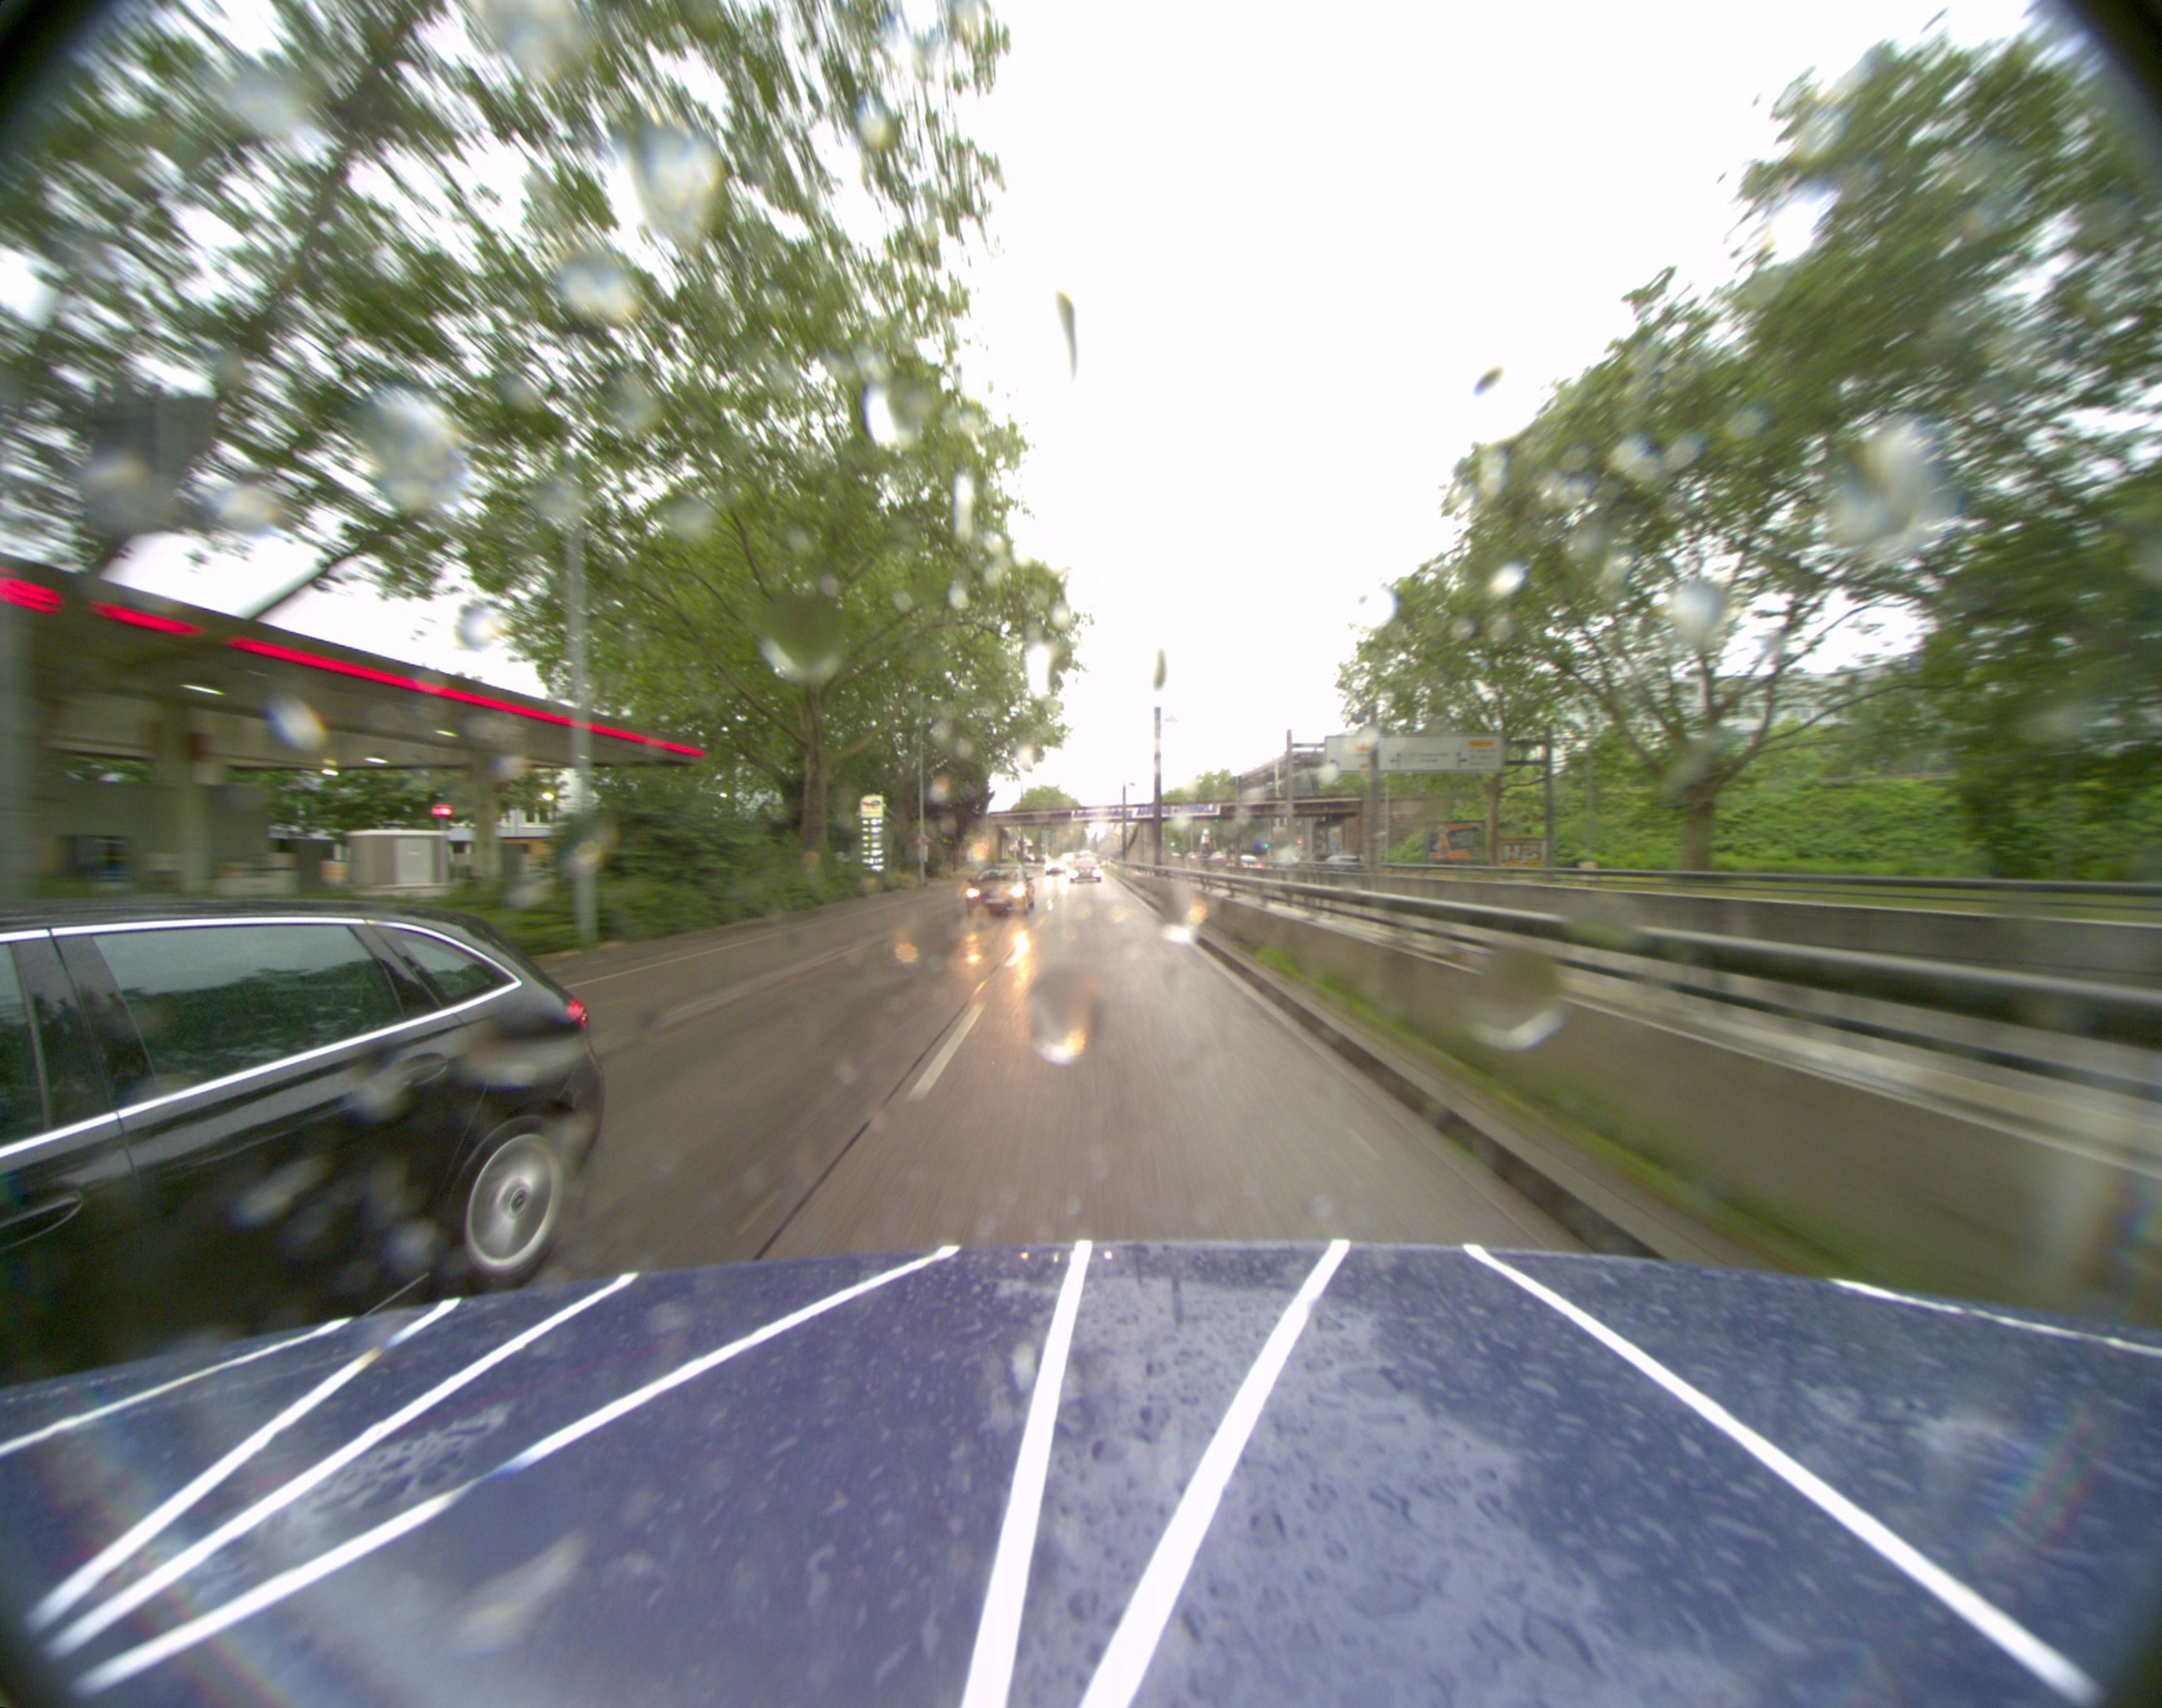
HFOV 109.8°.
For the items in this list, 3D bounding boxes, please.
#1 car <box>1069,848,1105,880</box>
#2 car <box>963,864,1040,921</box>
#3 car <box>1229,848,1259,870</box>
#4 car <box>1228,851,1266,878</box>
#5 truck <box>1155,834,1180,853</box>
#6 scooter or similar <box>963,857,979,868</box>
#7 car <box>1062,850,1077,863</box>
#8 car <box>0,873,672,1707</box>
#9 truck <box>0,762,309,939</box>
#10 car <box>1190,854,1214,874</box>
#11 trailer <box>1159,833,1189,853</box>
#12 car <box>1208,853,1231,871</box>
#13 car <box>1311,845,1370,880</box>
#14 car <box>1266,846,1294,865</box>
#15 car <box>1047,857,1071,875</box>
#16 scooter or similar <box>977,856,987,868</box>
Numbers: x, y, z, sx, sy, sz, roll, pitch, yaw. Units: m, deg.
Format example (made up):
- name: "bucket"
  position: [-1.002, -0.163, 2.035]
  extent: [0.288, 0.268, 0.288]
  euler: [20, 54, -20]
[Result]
- name: "car"
  position: [0.395, 0.603, 47.049]
  extent: [1.974, 1.794, 4.159]
  euler: [-2, 0, 3]
- name: "car"
  position: [-2.235, 1.048, 22.299]
  extent: [1.641, 1.377, 3.782]
  euler: [-2, 1, 3]
- name: "car"
  position: [16.121, 0.452, 75.301]
  extent: [1.998, 2.002, 4.000]
  euler: [-2, 1, 0]
- name: "car"
  position: [13.135, 0.780, 60.494]
  extent: [1.998, 2.002, 4.615]
  euler: [-2, 0, 0]
- name: "truck"
  position: [16.312, -1.916, 143.493]
  extent: [3.384, 3.290, 6.521]
  euler: [-3, 1, -4]
- name: "scooter or similar"
  position: [-11.115, 0.851, 76.804]
  extent: [0.452, 1.004, 1.742]
  euler: [-2, 1, 38]
- name: "car"
  position: [-1.476, 0.317, 100.612]
  extent: [1.869, 1.689, 4.425]
  euler: [-1, 0, 0]
- name: "car"
  position: [-2.888, 0.954, 1.358]
  extent: [1.821, 1.521, 4.420]
  euler: [-4, 1, 0]
- name: "truck"
  position: [-21.712, -0.018, 16.105]
  extent: [2.701, 3.332, 7.768]
  euler: [-2, 0, -1]
- name: "car"
  position: [13.312, 1.091, 83.939]
  extent: [1.998, 2.002, 4.000]
  euler: [-2, 1, 0]
- name: "trailer"
  position: [16.691, -1.894, 137.302]
  extent: [3.331, 3.241, 11.117]
  euler: [-3, 0, -4]
- name: "car"
  position: [16.760, 0.983, 92.260]
  extent: [1.998, 2.002, 4.510]
  euler: [-2, 1, 0]
- name: "car"
  position: [15.850, 0.481, 46.632]
  extent: [1.998, 2.002, 4.510]
  euler: [-2, 1, 0]
- name: "car"
  position: [22.100, 0.112, 84.492]
  extent: [1.998, 2.002, 4.196]
  euler: [-2, 1, 0]
- name: "car"
  position: [-1.893, 1.041, 66.532]
  extent: [1.821, 1.520, 4.159]
  euler: [-1, 0, 1]
- name: "scooter or similar"
  position: [-10.236, 0.839, 78.559]
  extent: [0.453, 1.152, 1.828]
  euler: [-2, 1, 8]
